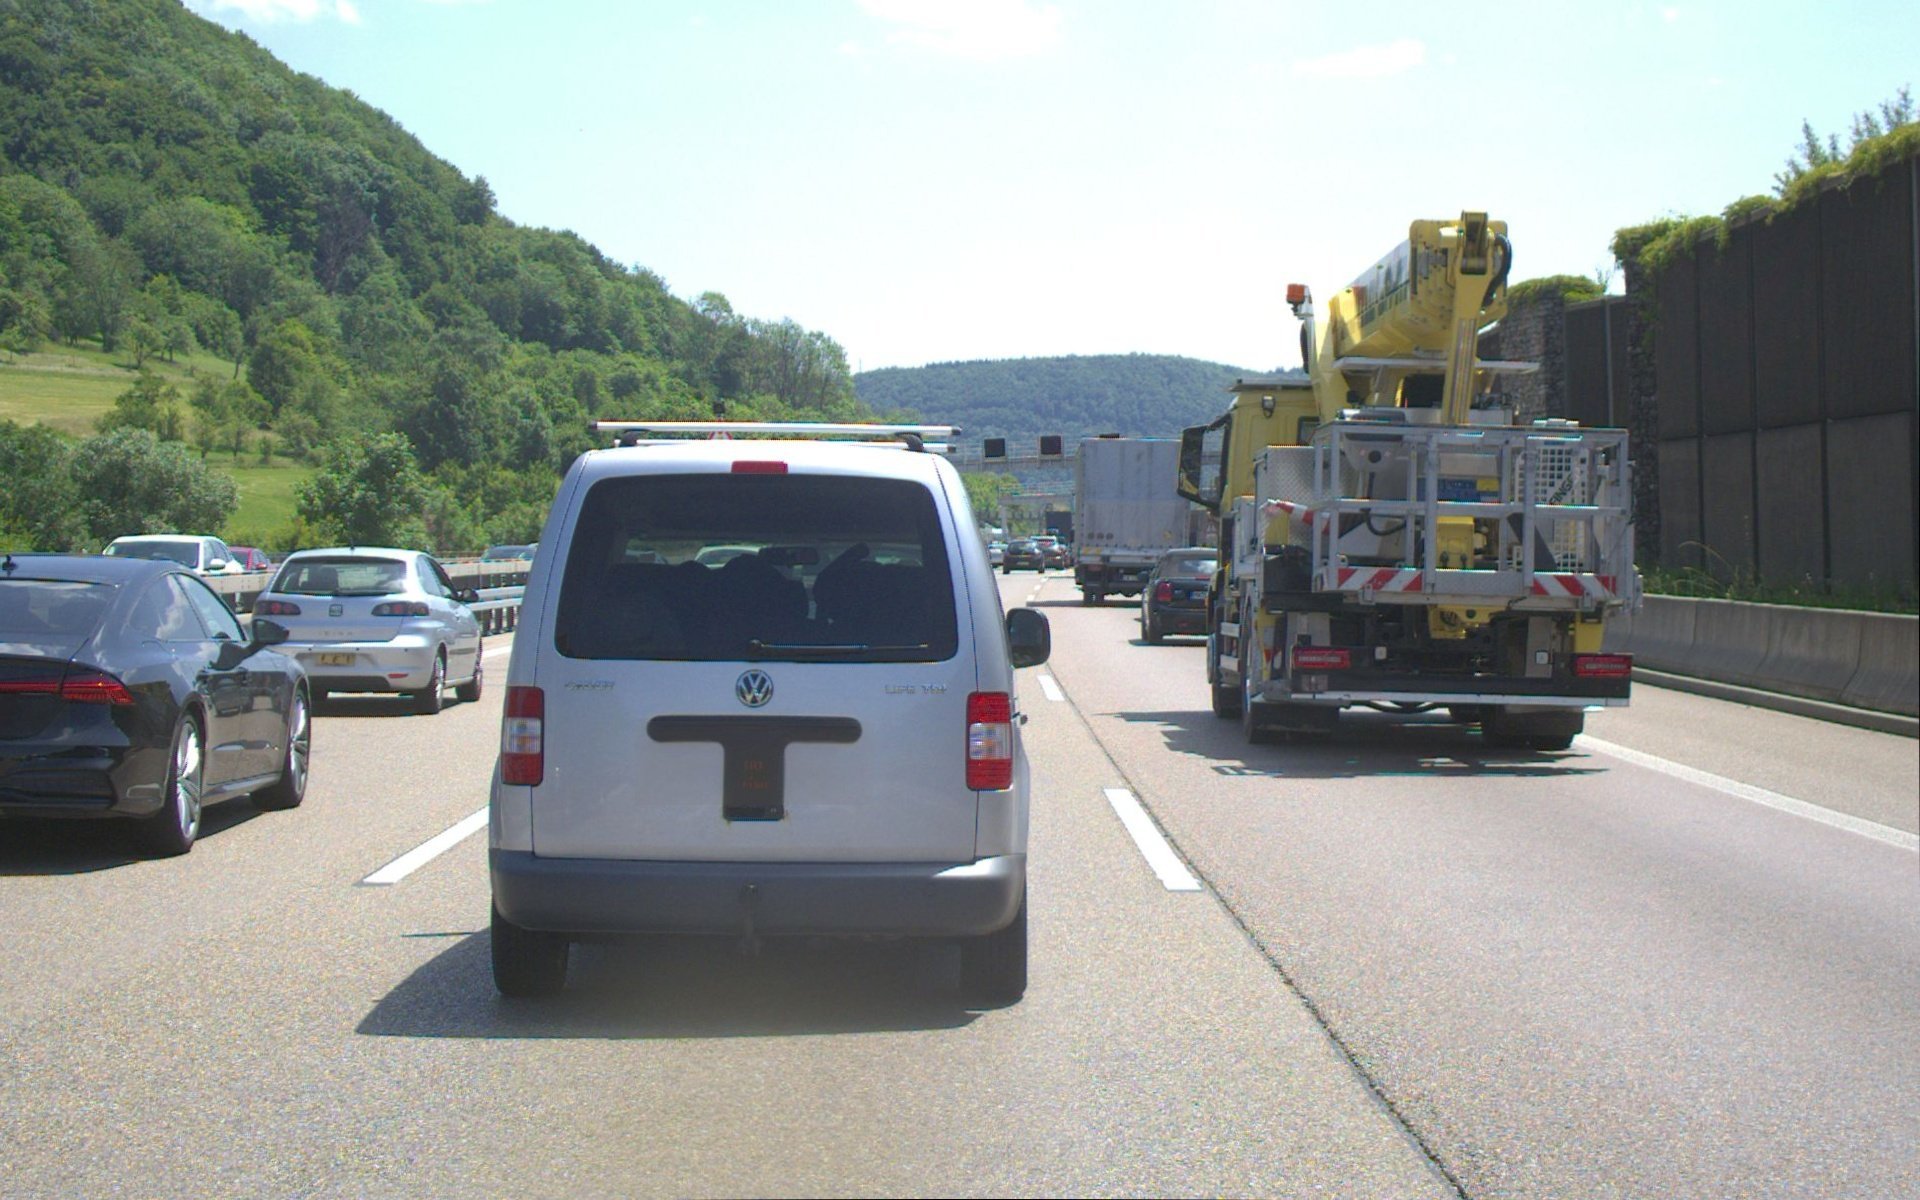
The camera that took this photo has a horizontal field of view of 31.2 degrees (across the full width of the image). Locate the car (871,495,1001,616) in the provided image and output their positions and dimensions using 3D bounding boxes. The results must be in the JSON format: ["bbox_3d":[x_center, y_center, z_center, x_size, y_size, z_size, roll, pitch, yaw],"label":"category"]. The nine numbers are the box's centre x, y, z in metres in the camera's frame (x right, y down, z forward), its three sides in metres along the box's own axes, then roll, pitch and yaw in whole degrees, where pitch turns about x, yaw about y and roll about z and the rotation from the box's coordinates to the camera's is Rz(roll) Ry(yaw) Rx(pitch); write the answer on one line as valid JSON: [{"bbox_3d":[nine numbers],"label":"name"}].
[{"bbox_3d":[-0.438,-0.762,58.067,1.993,1.969,4.001,0,1,-3],"label":"car"}]

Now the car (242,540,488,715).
[{"bbox_3d":[-5.207,0.194,30.495,1.695,1.440,3.862,0,1,-3],"label":"car"}]

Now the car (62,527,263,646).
[{"bbox_3d":[-11.917,-0.240,51.644,1.993,1.687,4.510,1,1,-1],"label":"car"}]

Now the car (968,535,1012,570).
[{"bbox_3d":[1.627,-2.566,186.814,2.114,1.821,4.001,1,1,-4],"label":"car"}]

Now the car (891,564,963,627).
[{"bbox_3d":[-0.991,-0.155,103.656,2.114,1.821,4.000,1,1,-1],"label":"car"}]

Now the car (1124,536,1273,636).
[{"bbox_3d":[3.581,-0.244,52.099,1.786,1.453,3.771,0,1,-3],"label":"car"}]

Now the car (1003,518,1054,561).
[{"bbox_3d":[2.856,-2.495,143.323,1.993,1.743,4.000,1,1,0],"label":"car"}]

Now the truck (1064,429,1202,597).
[{"bbox_3d":[4.089,-2.031,82.852,2.940,3.810,8.236,1,1,1],"label":"truck"}]

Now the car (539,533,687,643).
[{"bbox_3d":[-4.935,-0.203,49.313,1.924,1.494,4.001,1,1,-3],"label":"car"}]

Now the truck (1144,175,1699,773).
[{"bbox_3d":[3.284,-0.909,27.039,2.703,3.929,8.723,0,1,-3],"label":"truck"}]

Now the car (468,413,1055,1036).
[{"bbox_3d":[-0.707,0.334,12.314,1.756,1.861,4.001,0,1,-3],"label":"car"}]

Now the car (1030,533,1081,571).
[{"bbox_3d":[4.690,-2.358,169.774,2.114,1.821,4.001,1,1,-4],"label":"car"}]

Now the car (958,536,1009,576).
[{"bbox_3d":[1.114,-2.094,164.174,2.114,1.821,4.001,1,1,-4],"label":"car"}]

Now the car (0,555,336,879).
[{"bbox_3d":[-4.465,0.476,17.446,1.800,1.385,4.970,0,1,-1],"label":"car"}]

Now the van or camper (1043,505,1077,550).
[{"bbox_3d":[6.617,-4.787,228.103,1.993,2.943,5.423,1,0,0],"label":"van or camper"}]
